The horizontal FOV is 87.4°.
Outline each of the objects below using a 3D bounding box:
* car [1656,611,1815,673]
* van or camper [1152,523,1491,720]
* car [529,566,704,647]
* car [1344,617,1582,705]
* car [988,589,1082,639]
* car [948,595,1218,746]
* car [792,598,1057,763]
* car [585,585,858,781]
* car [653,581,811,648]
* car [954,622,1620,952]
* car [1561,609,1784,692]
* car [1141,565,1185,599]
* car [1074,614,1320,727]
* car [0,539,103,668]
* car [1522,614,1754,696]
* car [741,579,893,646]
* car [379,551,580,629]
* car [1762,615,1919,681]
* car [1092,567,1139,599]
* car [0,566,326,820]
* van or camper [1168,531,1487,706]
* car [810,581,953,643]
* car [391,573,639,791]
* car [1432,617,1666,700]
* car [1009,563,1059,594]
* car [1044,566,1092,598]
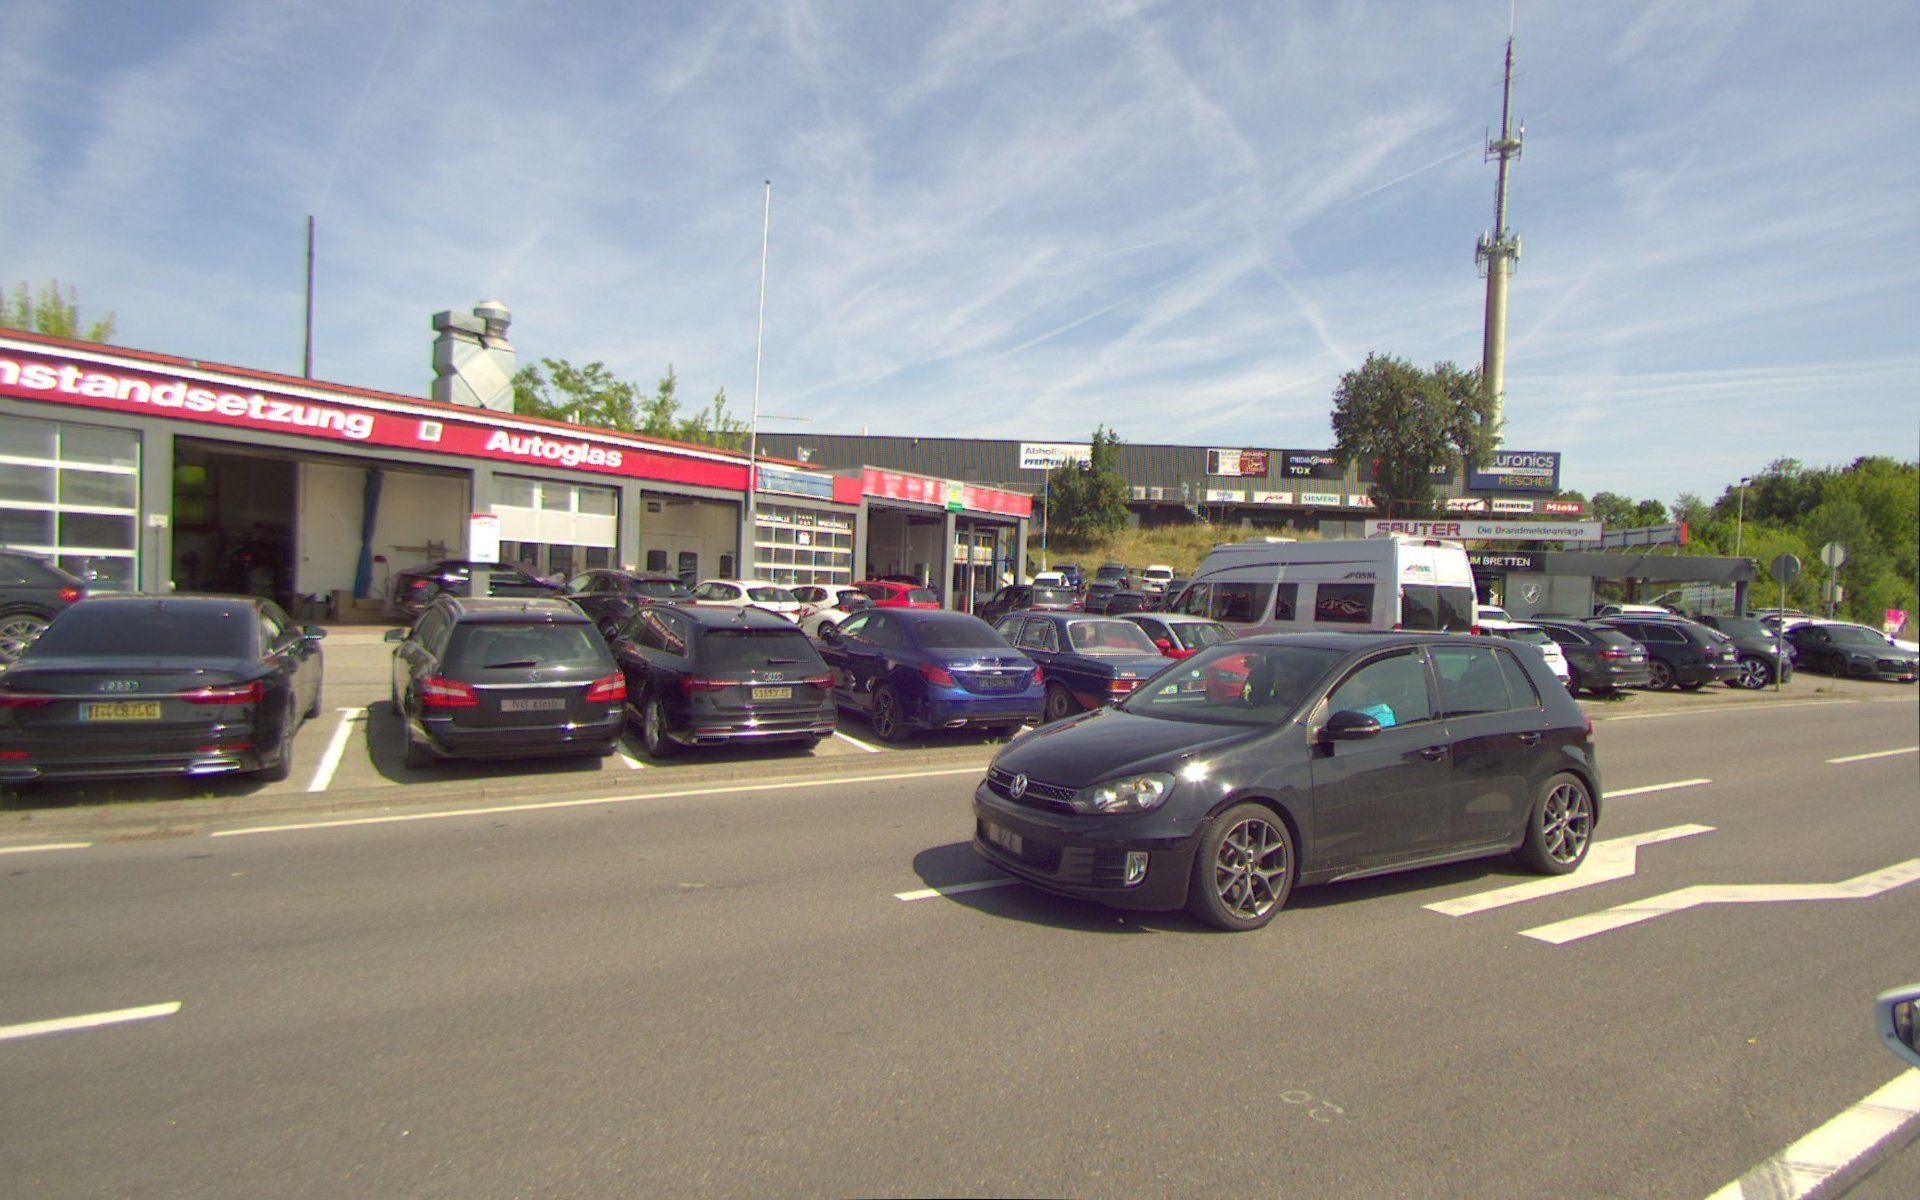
[{"bbox_3d":[23.389,1.212,30.477,1.806,1.716,3.829,1,0,-1],"label":"car"},{"bbox_3d":[5.804,0.288,16.966,2.183,2.768,5.222,1,0,-29],"label":"van or camper"},{"bbox_3d":[-7.288,0.126,21.140,3.892,1.553,1.760,1,0,41],"label":"car"},{"bbox_3d":[9.699,1.113,19.639,1.821,1.467,3.797,1,0,-31],"label":"car"},{"bbox_3d":[2.528,0.471,34.843,1.743,1.609,3.809,1,0,-22],"label":"car"},{"bbox_3d":[1.530,0.841,13.758,1.688,1.505,3.687,1,4,-32],"label":"car"},{"bbox_3d":[-0.593,0.826,12.393,1.688,1.577,3.687,0,2,-31],"label":"car"},{"bbox_3d":[-2.773,0.730,10.998,1.782,1.505,3.823,1,4,-32],"label":"car"},{"bbox_3d":[-5.431,0.315,23.727,3.773,1.451,1.760,1,0,41],"label":"car"},{"bbox_3d":[2.049,0.868,6.050,3.879,1.428,1.659,1,-2,-30],"label":"car"},{"bbox_3d":[16.323,1.095,23.179,1.821,1.697,3.797,1,0,-31],"label":"car"},{"bbox_3d":[10.362,-0.880,51.140,1.702,1.558,3.749,2,0,19],"label":"car"},{"bbox_3d":[3.563,0.997,15.674,1.790,1.500,3.578,1,-1,-29],"label":"car"},{"bbox_3d":[-14.704,-0.027,13.778,1.797,1.696,4.115,8,3,34],"label":"car"},{"bbox_3d":[14.619,1.125,21.855,1.821,1.560,3.797,1,0,-31],"label":"car"},{"bbox_3d":[-3.743,0.291,26.108,3.768,1.609,1.762,1,0,37],"label":"car"},{"bbox_3d":[-11.466,-0.184,24.111,3.986,1.694,1.888,2,-1,-43],"label":"car"},{"bbox_3d":[25.767,1.322,29.291,2.089,1.716,4.530,1,0,16],"label":"car"},{"bbox_3d":[8.013,-0.837,51.600,1.702,1.470,3.749,2,0,19],"label":"car"},{"bbox_3d":[-6.822,0.580,8.931,1.777,1.505,4.277,1,4,-30],"label":"car"},{"bbox_3d":[6.935,0.284,19.848,2.262,2.912,5.866,1,1,-29],"label":"van or camper"},{"bbox_3d":[-2.240,0.314,28.162,3.768,1.609,1.762,1,0,37],"label":"car"},{"bbox_3d":[-4.761,0.623,10.332,1.752,1.505,4.434,1,4,-31],"label":"car"},{"bbox_3d":[12.039,1.118,20.774,1.821,1.468,3.797,0,0,-31],"label":"car"},{"bbox_3d":[3.925,-1.105,52.584,1.702,1.470,3.749,2,0,19],"label":"car"},{"bbox_3d":[5.686,-0.910,52.467,1.702,1.470,3.749,2,0,19],"label":"car"}]
